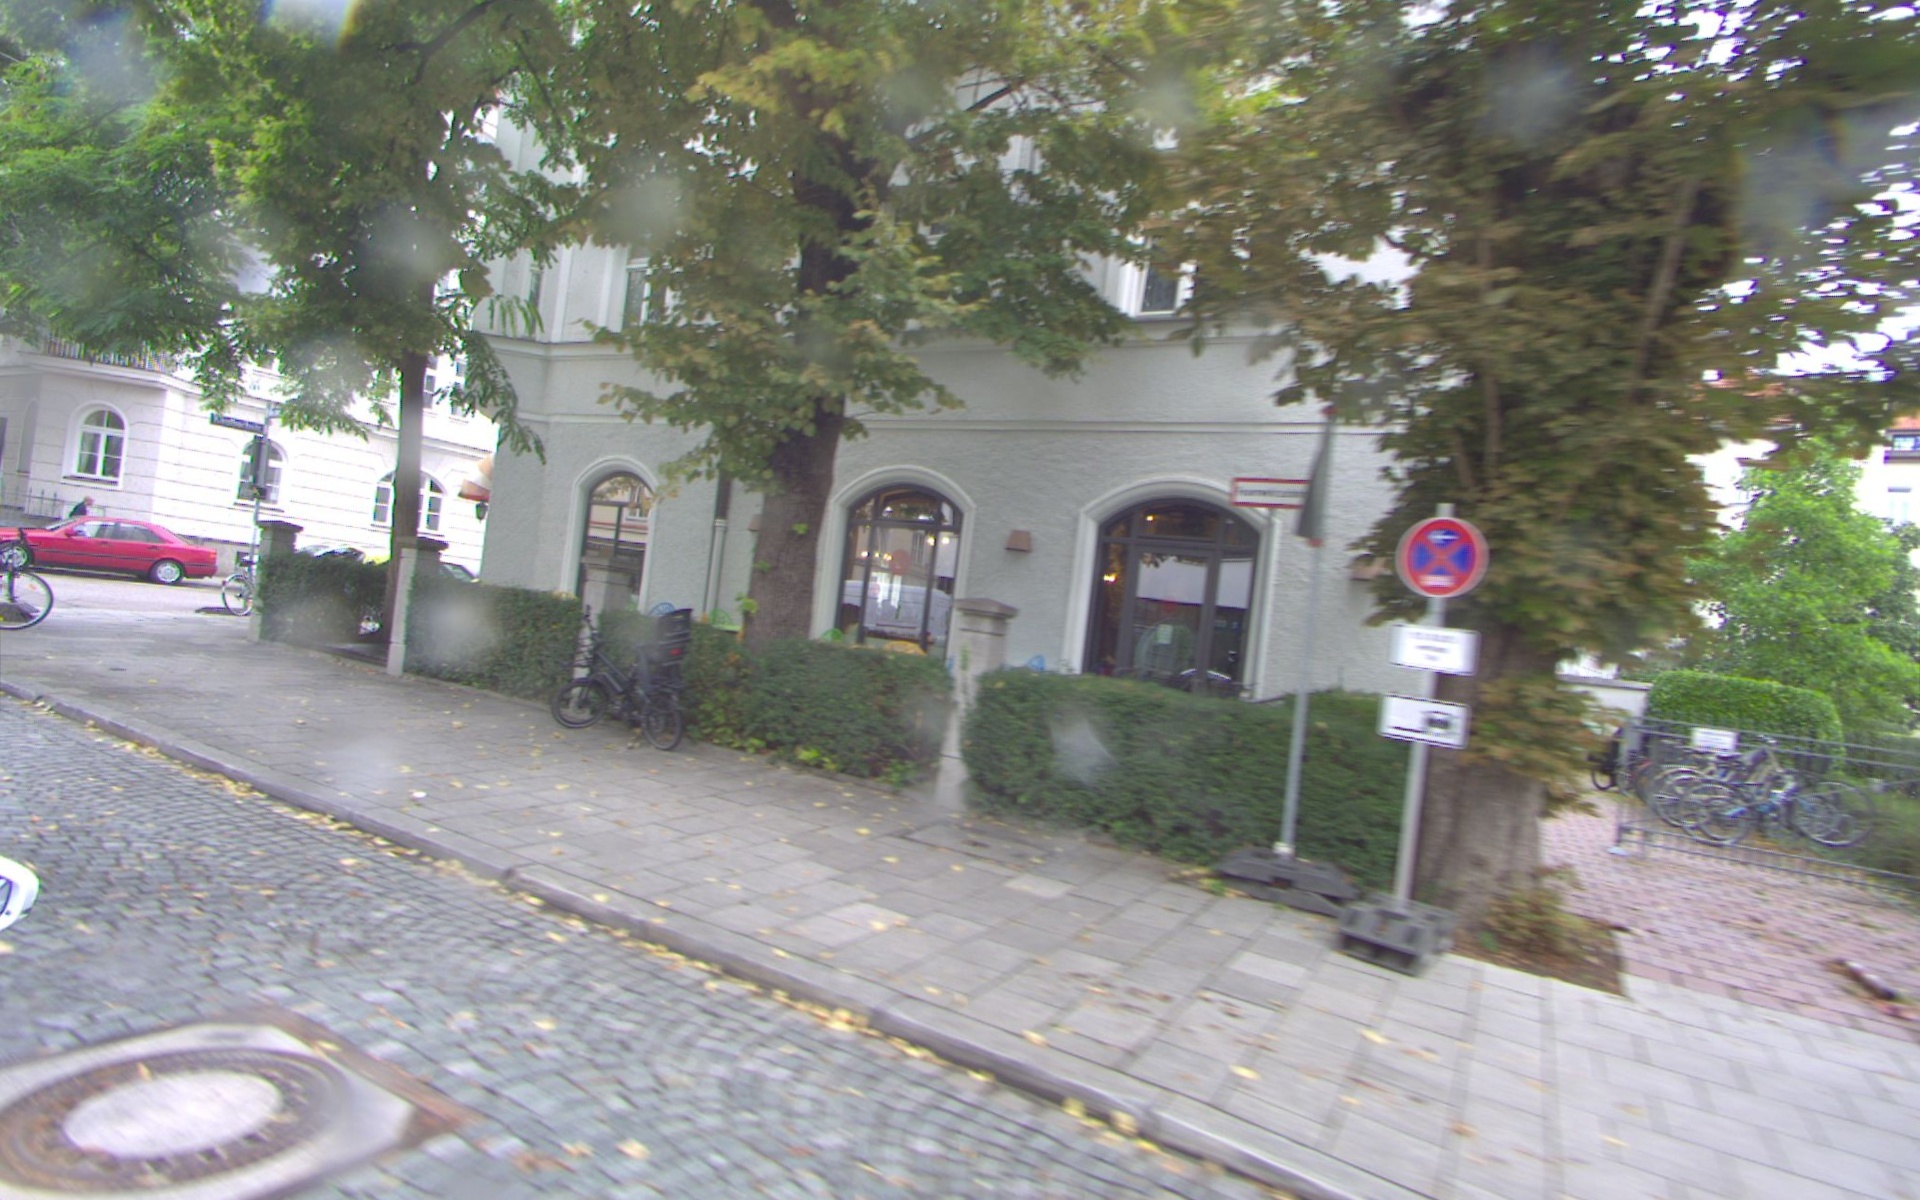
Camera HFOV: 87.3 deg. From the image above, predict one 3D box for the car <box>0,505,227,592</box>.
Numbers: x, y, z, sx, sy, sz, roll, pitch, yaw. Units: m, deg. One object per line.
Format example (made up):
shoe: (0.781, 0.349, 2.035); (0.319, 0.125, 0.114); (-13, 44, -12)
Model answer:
car: (-19.639, -1.181, 22.824); (1.734, 1.374, 4.468); (7, -2, 37)

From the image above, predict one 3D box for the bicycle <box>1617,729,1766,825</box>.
bicycle: (10.841, 2.601, 14.963); (1.644, 1.114, 0.421); (6, -1, 26)

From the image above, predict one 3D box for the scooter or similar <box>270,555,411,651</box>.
scooter or similar: (-8.812, 0.057, 14.348); (1.594, 1.186, 0.401); (7, -1, -37)

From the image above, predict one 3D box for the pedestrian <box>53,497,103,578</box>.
pedestrian: (-21.738, -1.545, 24.804); (0.729, 1.898, 0.495); (7, -1, 25)

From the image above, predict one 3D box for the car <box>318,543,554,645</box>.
car: (-11.342, -0.082, 21.982); (1.879, 1.615, 4.071); (6, -3, 41)

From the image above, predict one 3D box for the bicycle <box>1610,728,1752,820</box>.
bicycle: (11.118, 2.670, 15.571); (1.644, 1.114, 0.421); (6, -1, 26)

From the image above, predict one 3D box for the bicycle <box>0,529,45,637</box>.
bicycle: (-11.206, -0.237, 11.760); (1.565, 1.160, 0.388); (6, -1, 37)

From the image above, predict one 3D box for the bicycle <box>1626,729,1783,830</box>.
bicycle: (10.526, 2.523, 14.273); (1.644, 1.114, 0.421); (6, -1, 26)

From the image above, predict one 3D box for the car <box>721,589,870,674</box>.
car: (-4.742, 0.960, 29.397); (1.750, 1.992, 3.917); (6, -3, 41)

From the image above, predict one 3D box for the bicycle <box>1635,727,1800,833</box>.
bicycle: (10.198, 2.410, 13.603); (1.644, 1.114, 0.421); (6, -1, 26)

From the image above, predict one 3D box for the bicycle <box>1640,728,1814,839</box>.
bicycle: (9.857, 2.342, 12.987); (1.644, 1.114, 0.421); (6, -1, 26)

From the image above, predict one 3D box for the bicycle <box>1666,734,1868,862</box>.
bicycle: (9.098, 2.211, 11.410); (1.644, 1.114, 0.421); (6, -1, 26)

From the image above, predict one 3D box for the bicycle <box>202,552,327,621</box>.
bicycle: (-12.191, -0.220, 17.670); (0.727, 1.082, 1.602); (3, -2, 33)

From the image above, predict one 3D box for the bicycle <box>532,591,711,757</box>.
bicycle: (-2.980, 0.600, 8.776); (1.702, 1.215, 0.427); (6, 4, 31)

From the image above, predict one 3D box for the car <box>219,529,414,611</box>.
car: (-16.675, -0.743, 26.248); (1.541, 1.539, 3.890); (6, -2, 35)

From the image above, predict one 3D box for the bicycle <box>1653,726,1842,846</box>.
bicycle: (9.440, 2.208, 12.118); (1.644, 1.114, 0.421); (6, -1, 26)

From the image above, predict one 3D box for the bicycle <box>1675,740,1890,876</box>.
bicycle: (8.790, 2.202, 10.816); (1.644, 1.114, 0.421); (6, -1, 26)
